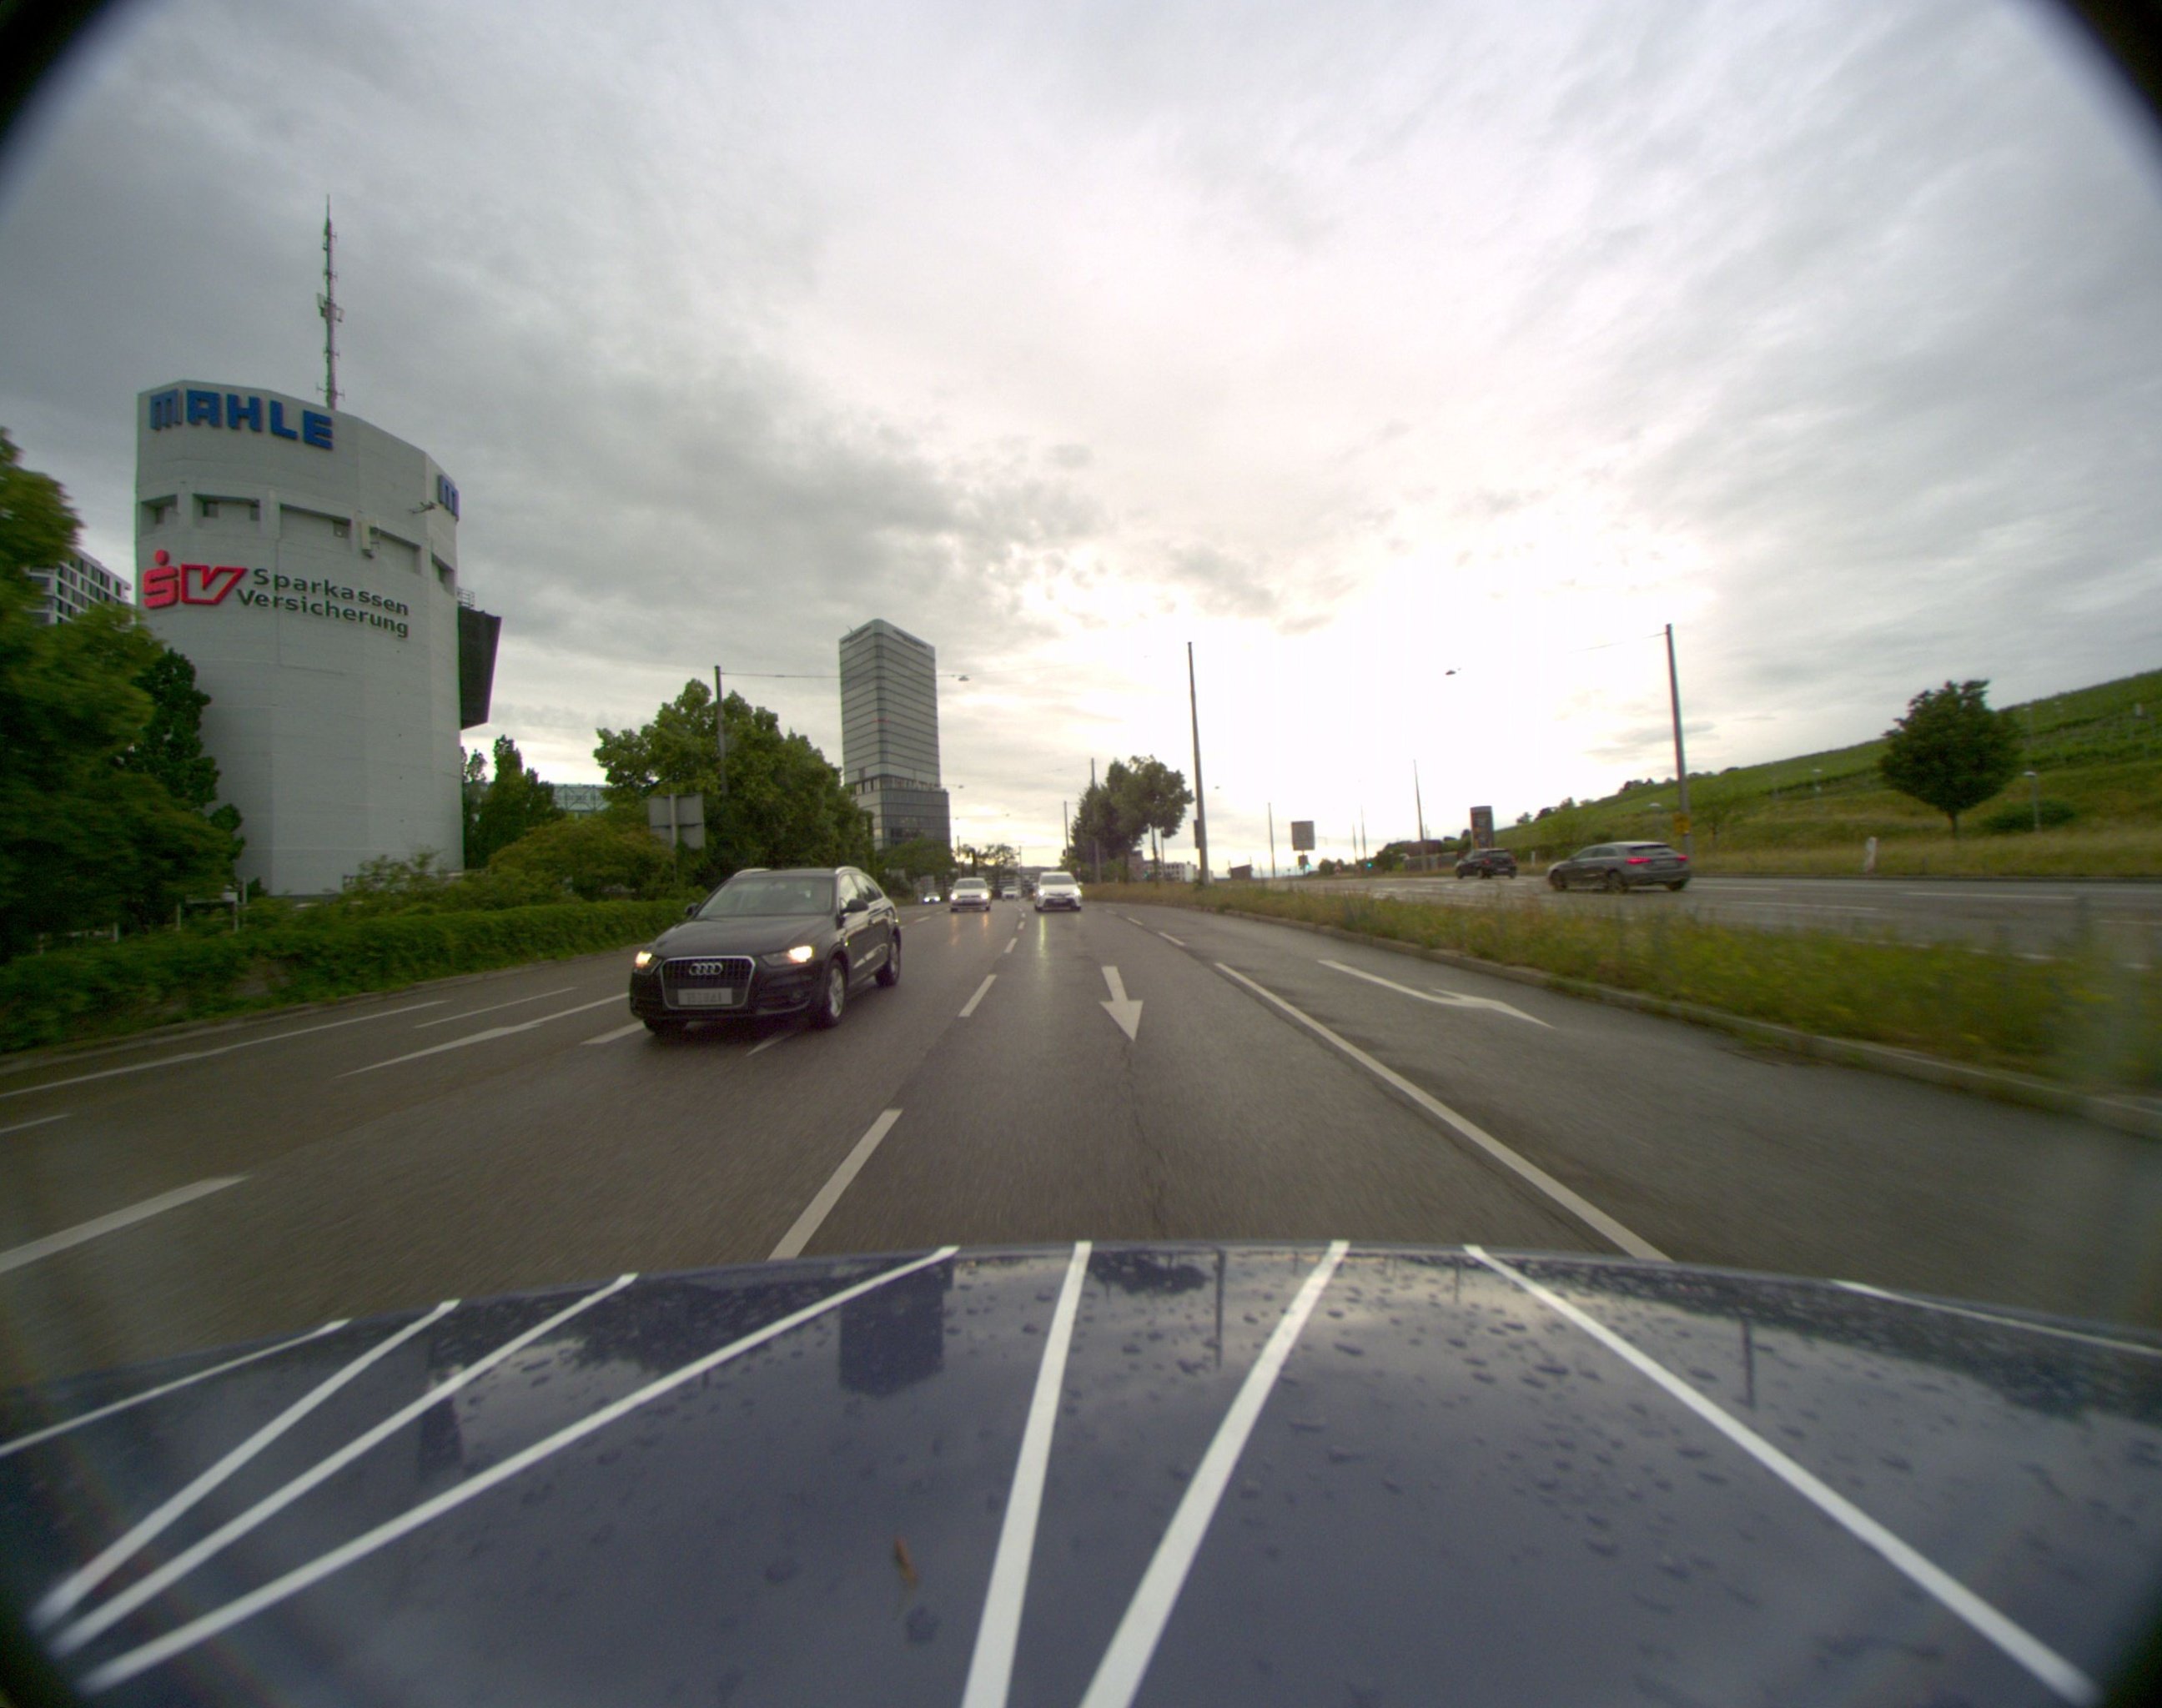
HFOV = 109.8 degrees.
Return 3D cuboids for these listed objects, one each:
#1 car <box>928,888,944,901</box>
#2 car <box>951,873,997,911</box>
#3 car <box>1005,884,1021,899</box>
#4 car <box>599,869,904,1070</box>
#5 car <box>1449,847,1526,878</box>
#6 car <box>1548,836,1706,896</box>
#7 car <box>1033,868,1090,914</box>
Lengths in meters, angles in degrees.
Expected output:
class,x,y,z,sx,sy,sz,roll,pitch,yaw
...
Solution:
class,x,y,z,sx,sy,sz,roll,pitch,yaw
car,-17.384,4.818,91.291,1.636,1.467,3.676,-3,-2,-8
car,-4.687,1.684,33.688,1.730,1.463,4.263,-4,-2,-6
car,-7.113,3.936,79.304,1.543,1.420,3.807,-3,-2,-5
car,-3.285,1.026,8.558,1.730,1.525,4.125,-4,0,-3
car,20.445,0.378,38.401,1.772,1.376,4.000,-3,1,2
car,15.866,0.348,22.369,1.772,1.509,4.001,-3,-1,2
car,-0.880,1.461,31.292,1.828,1.574,4.294,-3,0,-7
